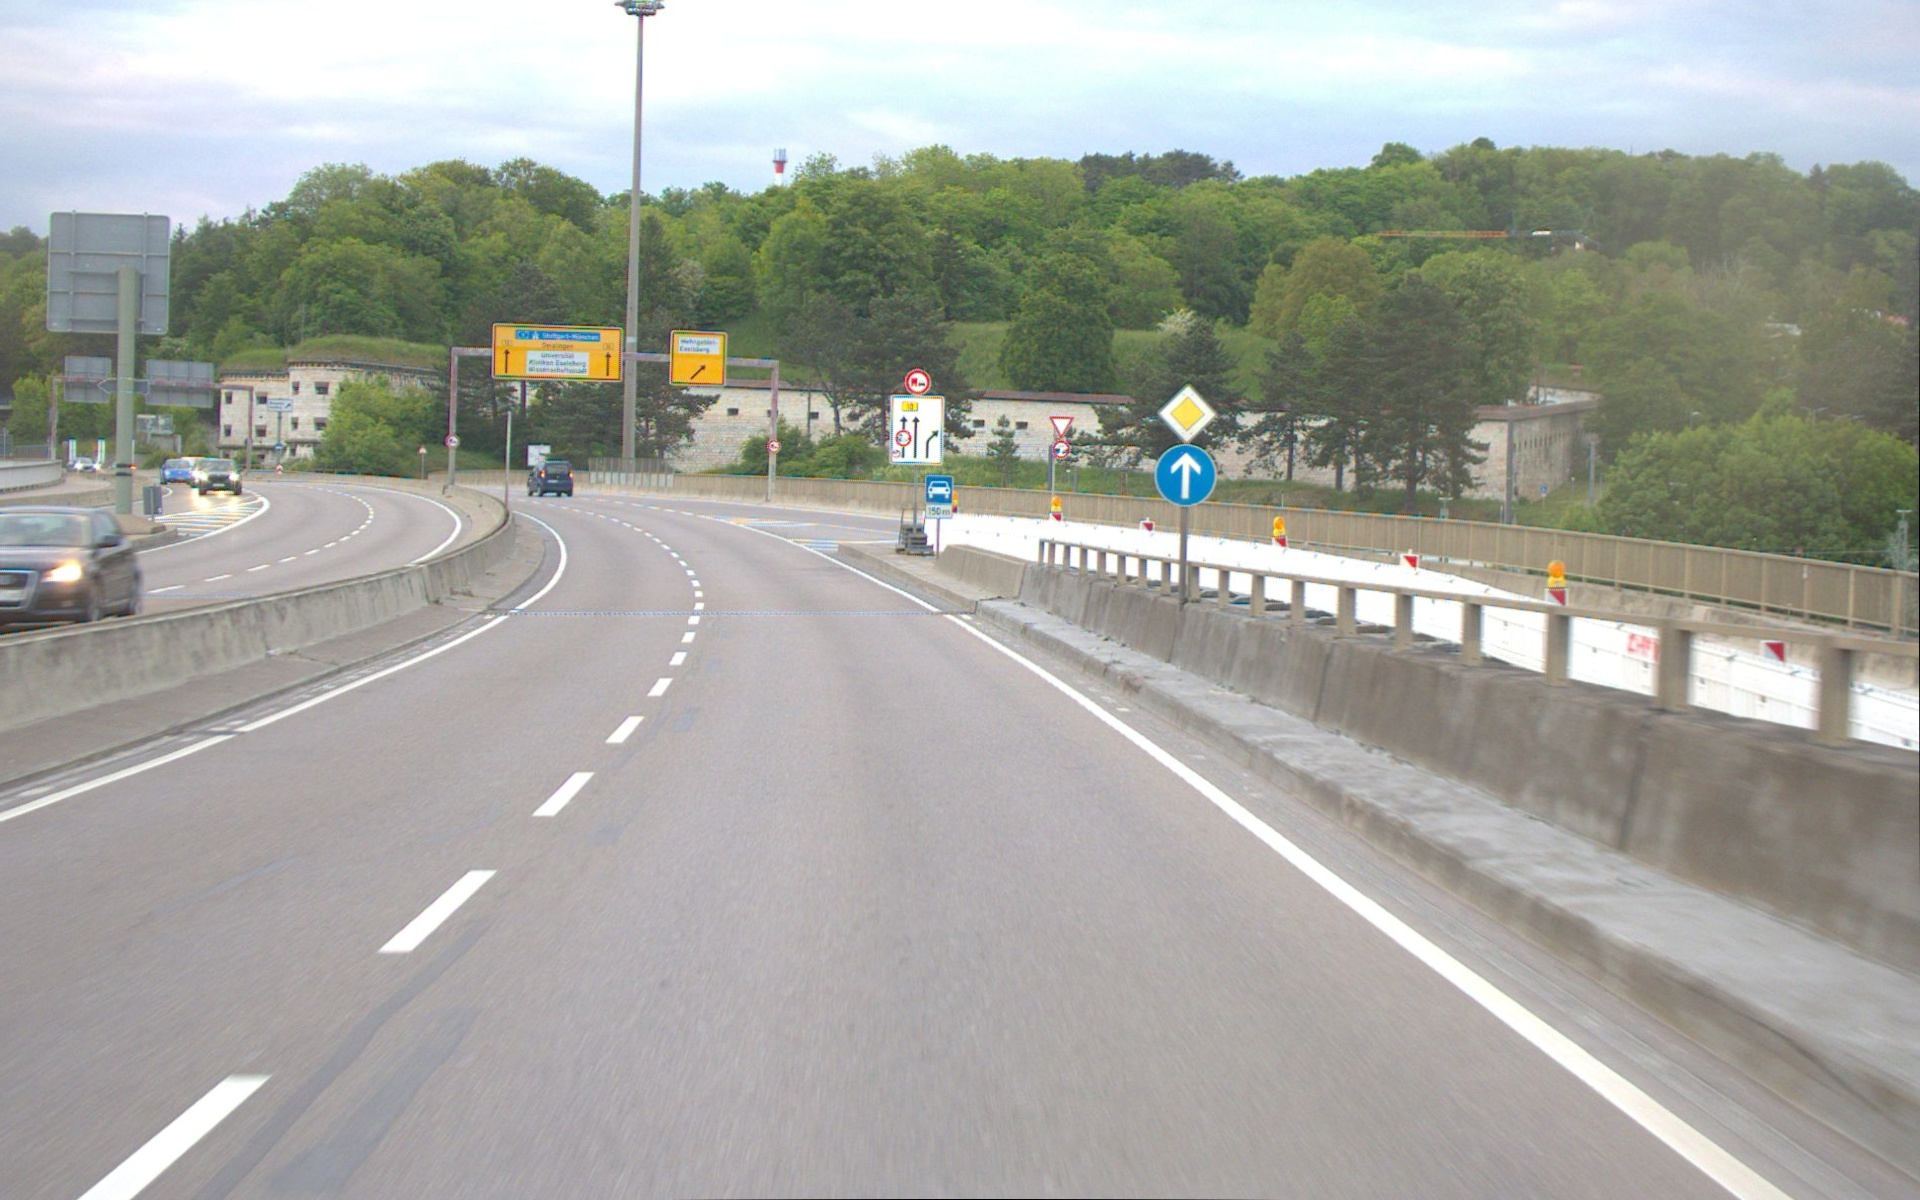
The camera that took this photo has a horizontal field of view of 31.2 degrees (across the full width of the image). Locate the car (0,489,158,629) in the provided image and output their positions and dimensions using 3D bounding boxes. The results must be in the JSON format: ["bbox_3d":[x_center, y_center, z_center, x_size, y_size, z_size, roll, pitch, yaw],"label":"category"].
[{"bbox_3d":[-10.268,-0.477,38.529,1.829,1.475,4.288,1,1,-4],"label":"car"}]

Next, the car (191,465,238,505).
[{"bbox_3d":[-33.969,-5.250,156.738,1.636,1.711,4.001,-4,2,-7],"label":"car"}]

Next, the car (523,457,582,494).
[{"bbox_3d":[-21.271,-6.496,179.240,2.304,1.757,4.264,2,2,-16],"label":"car"}]

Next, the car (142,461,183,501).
[{"bbox_3d":[-45.570,-6.805,196.552,1.993,2.006,4.002,7,2,-12],"label":"car"}]
